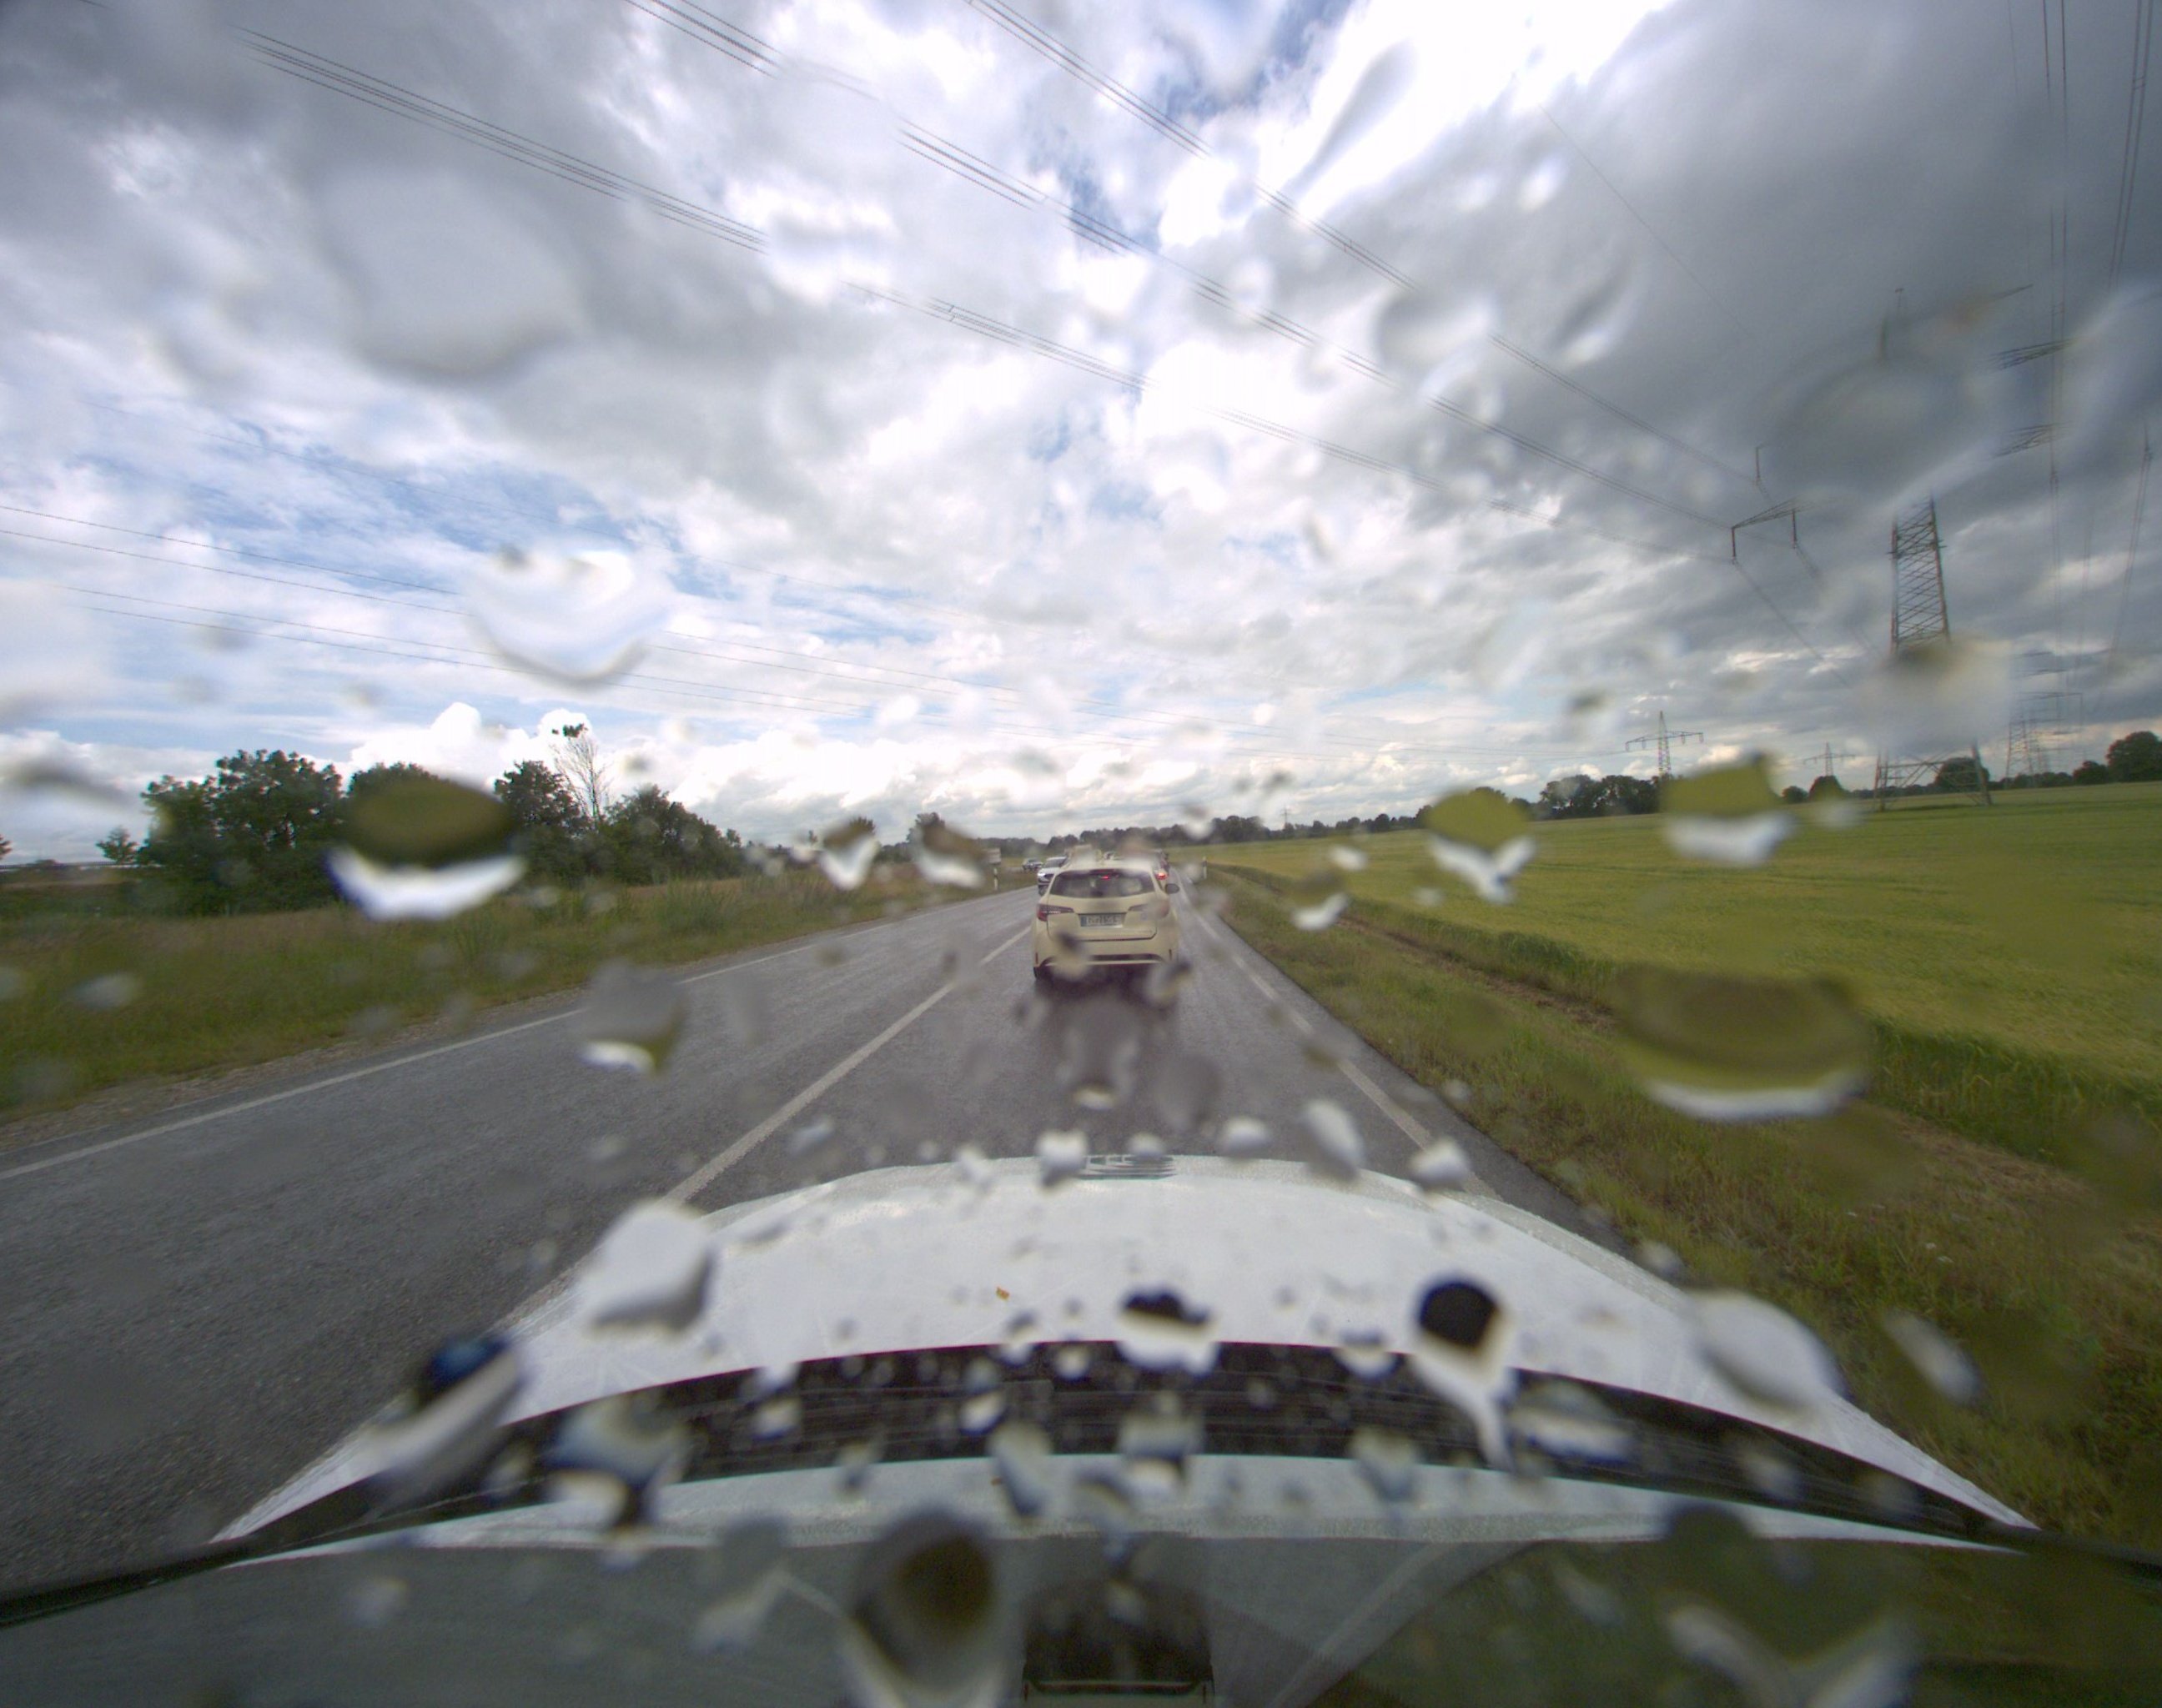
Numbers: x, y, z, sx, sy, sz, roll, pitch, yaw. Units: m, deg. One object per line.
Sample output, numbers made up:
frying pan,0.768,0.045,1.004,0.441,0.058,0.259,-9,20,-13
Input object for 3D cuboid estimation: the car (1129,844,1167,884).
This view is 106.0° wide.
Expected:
car,2.984,0.459,36.375,1.605,1.659,3.742,-1,-1,4

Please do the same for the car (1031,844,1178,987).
car,0.468,0.725,10.858,1.604,1.562,3.745,-1,-1,6

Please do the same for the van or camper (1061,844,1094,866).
van or camper,-0.480,0.129,108.791,2.543,2.896,6.704,-1,0,-17

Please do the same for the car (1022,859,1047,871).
car,-6.417,1.512,111.476,1.936,1.631,4.686,-2,0,-21

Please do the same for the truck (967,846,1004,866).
truck,-16.523,0.412,140.334,3.034,3.209,8.147,0,-2,-33

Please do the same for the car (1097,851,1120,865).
car,3.073,0.455,91.669,1.783,1.413,3.726,0,-1,-9

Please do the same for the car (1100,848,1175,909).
car,1.550,0.612,22.491,1.833,1.492,4.613,-1,0,4

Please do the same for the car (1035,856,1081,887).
car,-1.051,0.819,39.318,1.837,1.388,4.290,-1,-1,3

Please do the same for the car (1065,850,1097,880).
car,0.063,0.713,52.683,1.837,1.855,4.450,-1,-1,3

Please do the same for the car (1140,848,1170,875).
car,4.240,0.457,46.525,1.605,1.413,3.743,-1,-1,5
